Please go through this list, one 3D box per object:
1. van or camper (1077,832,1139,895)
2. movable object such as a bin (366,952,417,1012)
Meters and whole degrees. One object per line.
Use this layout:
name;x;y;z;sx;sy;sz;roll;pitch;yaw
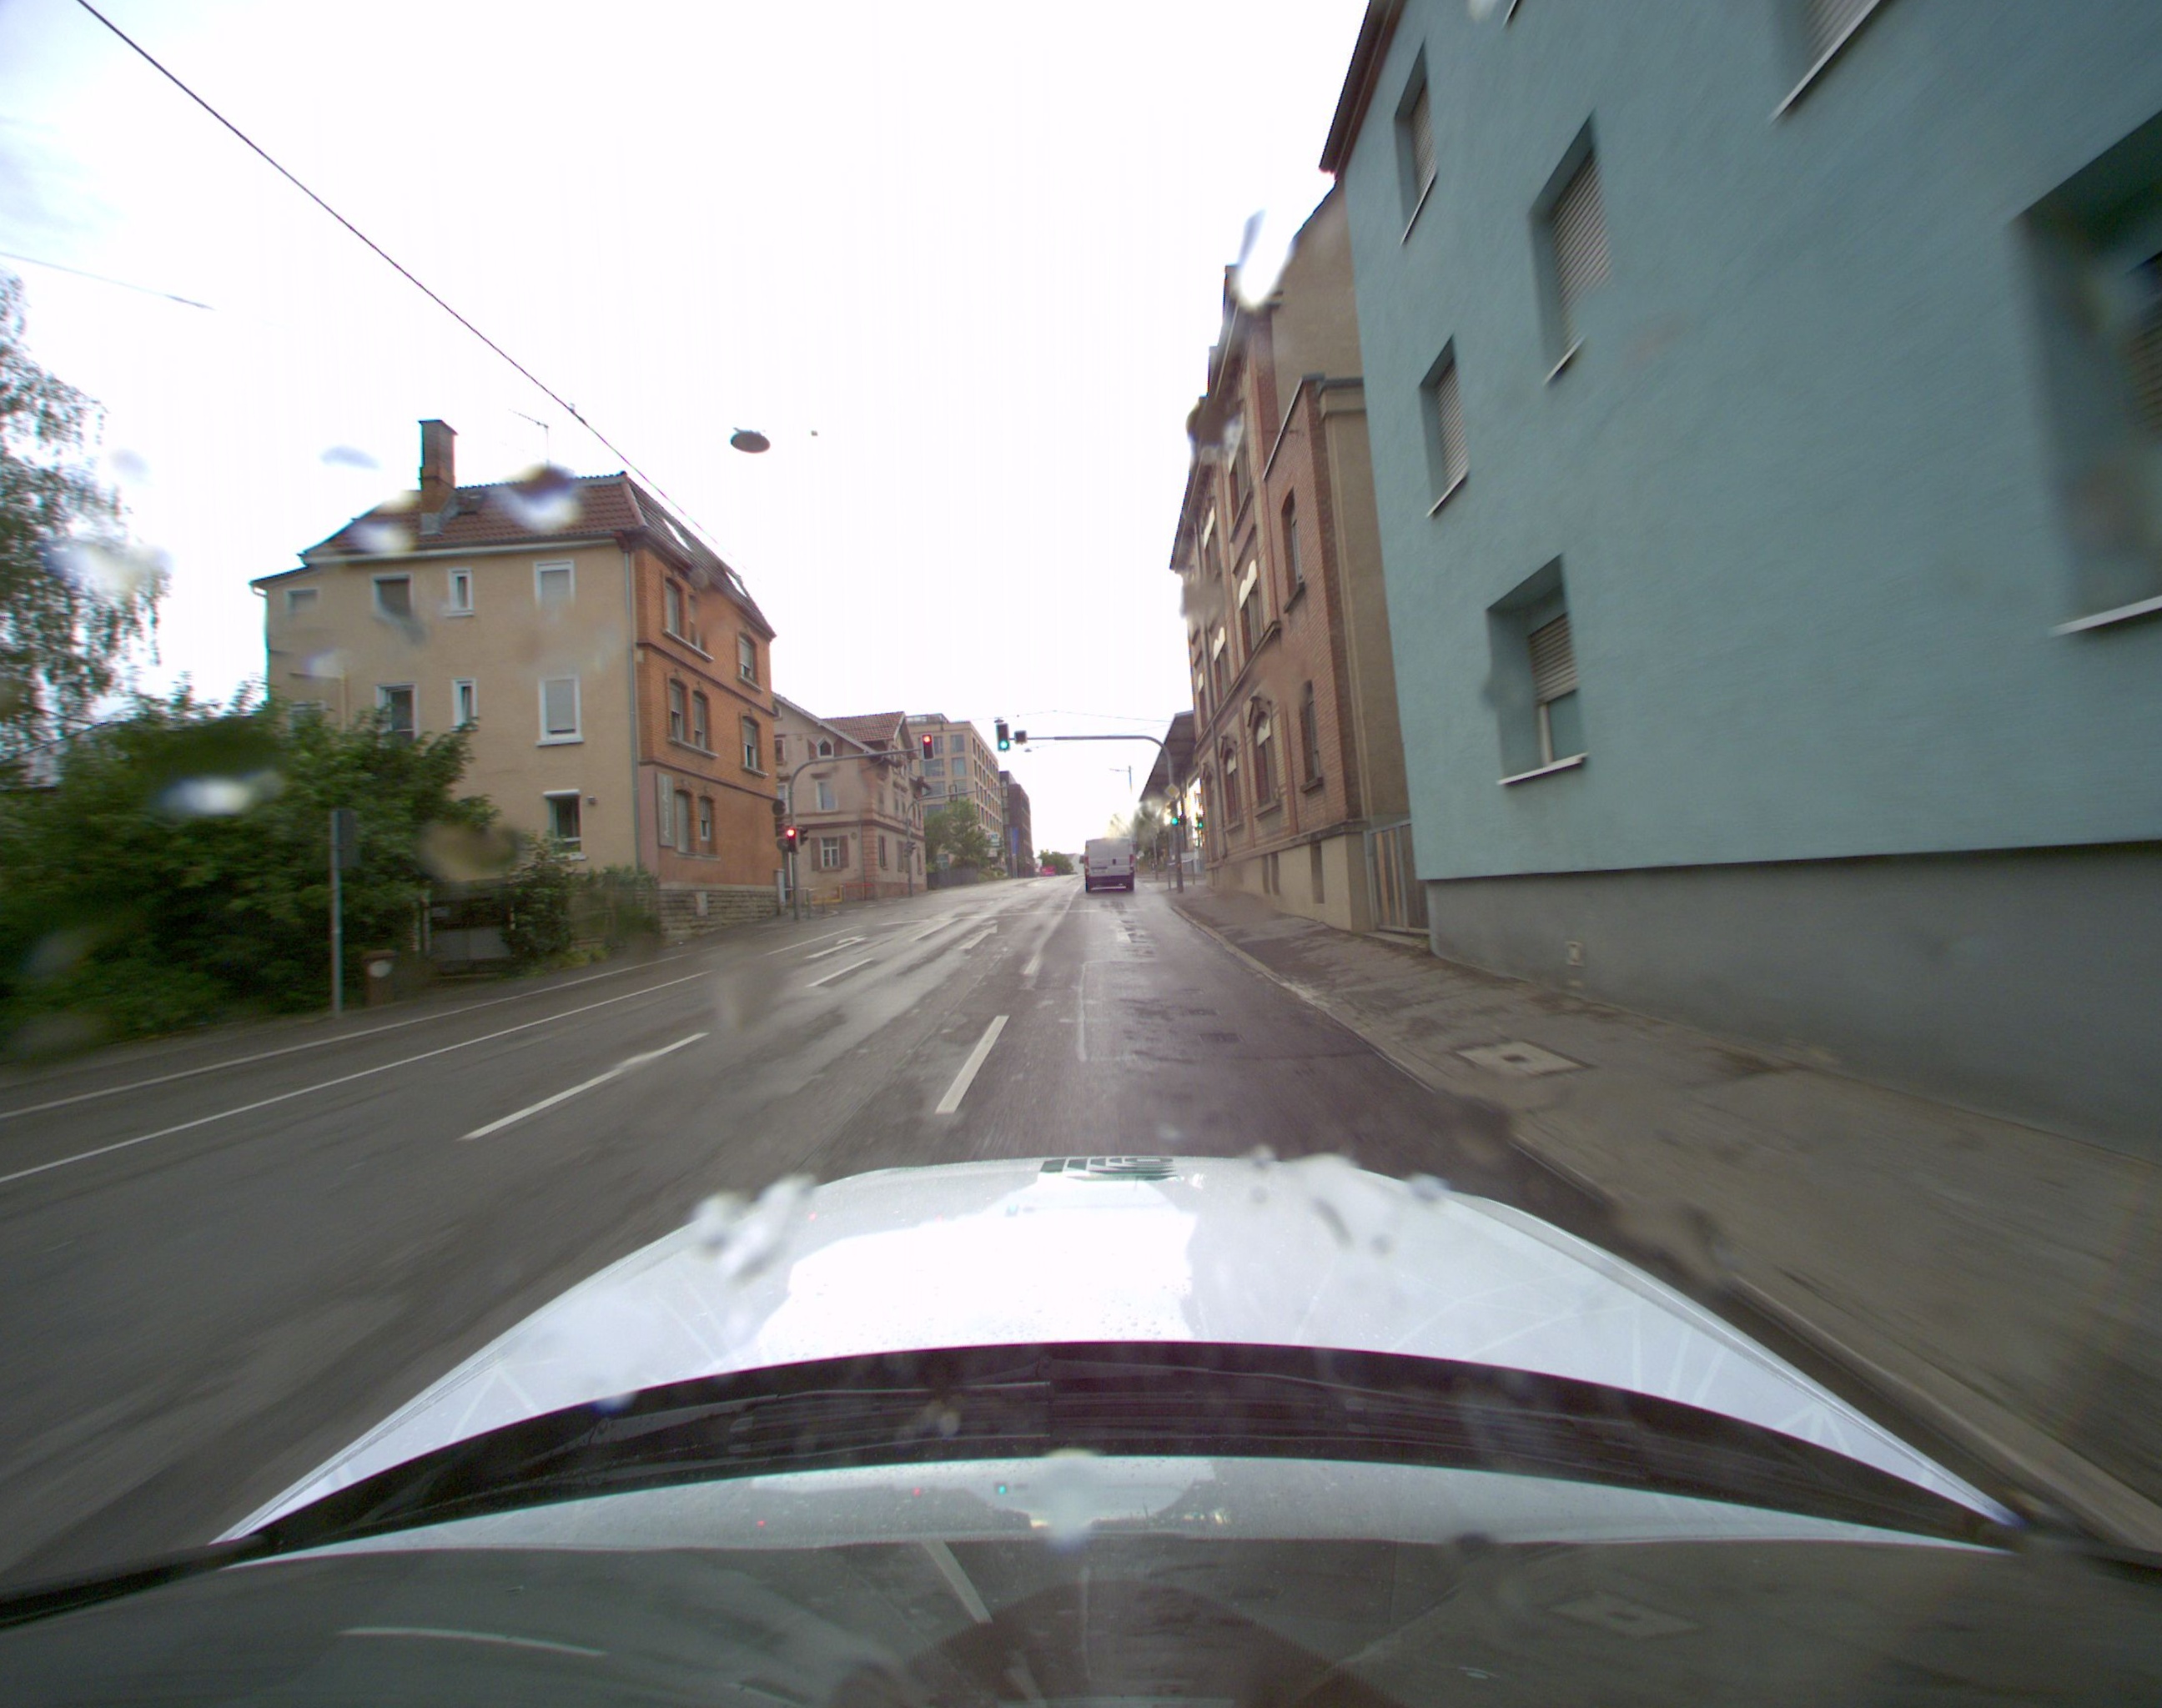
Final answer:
van or camper;1.171;0.436;35.187;2.331;2.357;5.201;-4;-1;2
movable object such as a bin;-11.843;2.184;13.993;0.408;0.925;0.525;-3;-2;-6
